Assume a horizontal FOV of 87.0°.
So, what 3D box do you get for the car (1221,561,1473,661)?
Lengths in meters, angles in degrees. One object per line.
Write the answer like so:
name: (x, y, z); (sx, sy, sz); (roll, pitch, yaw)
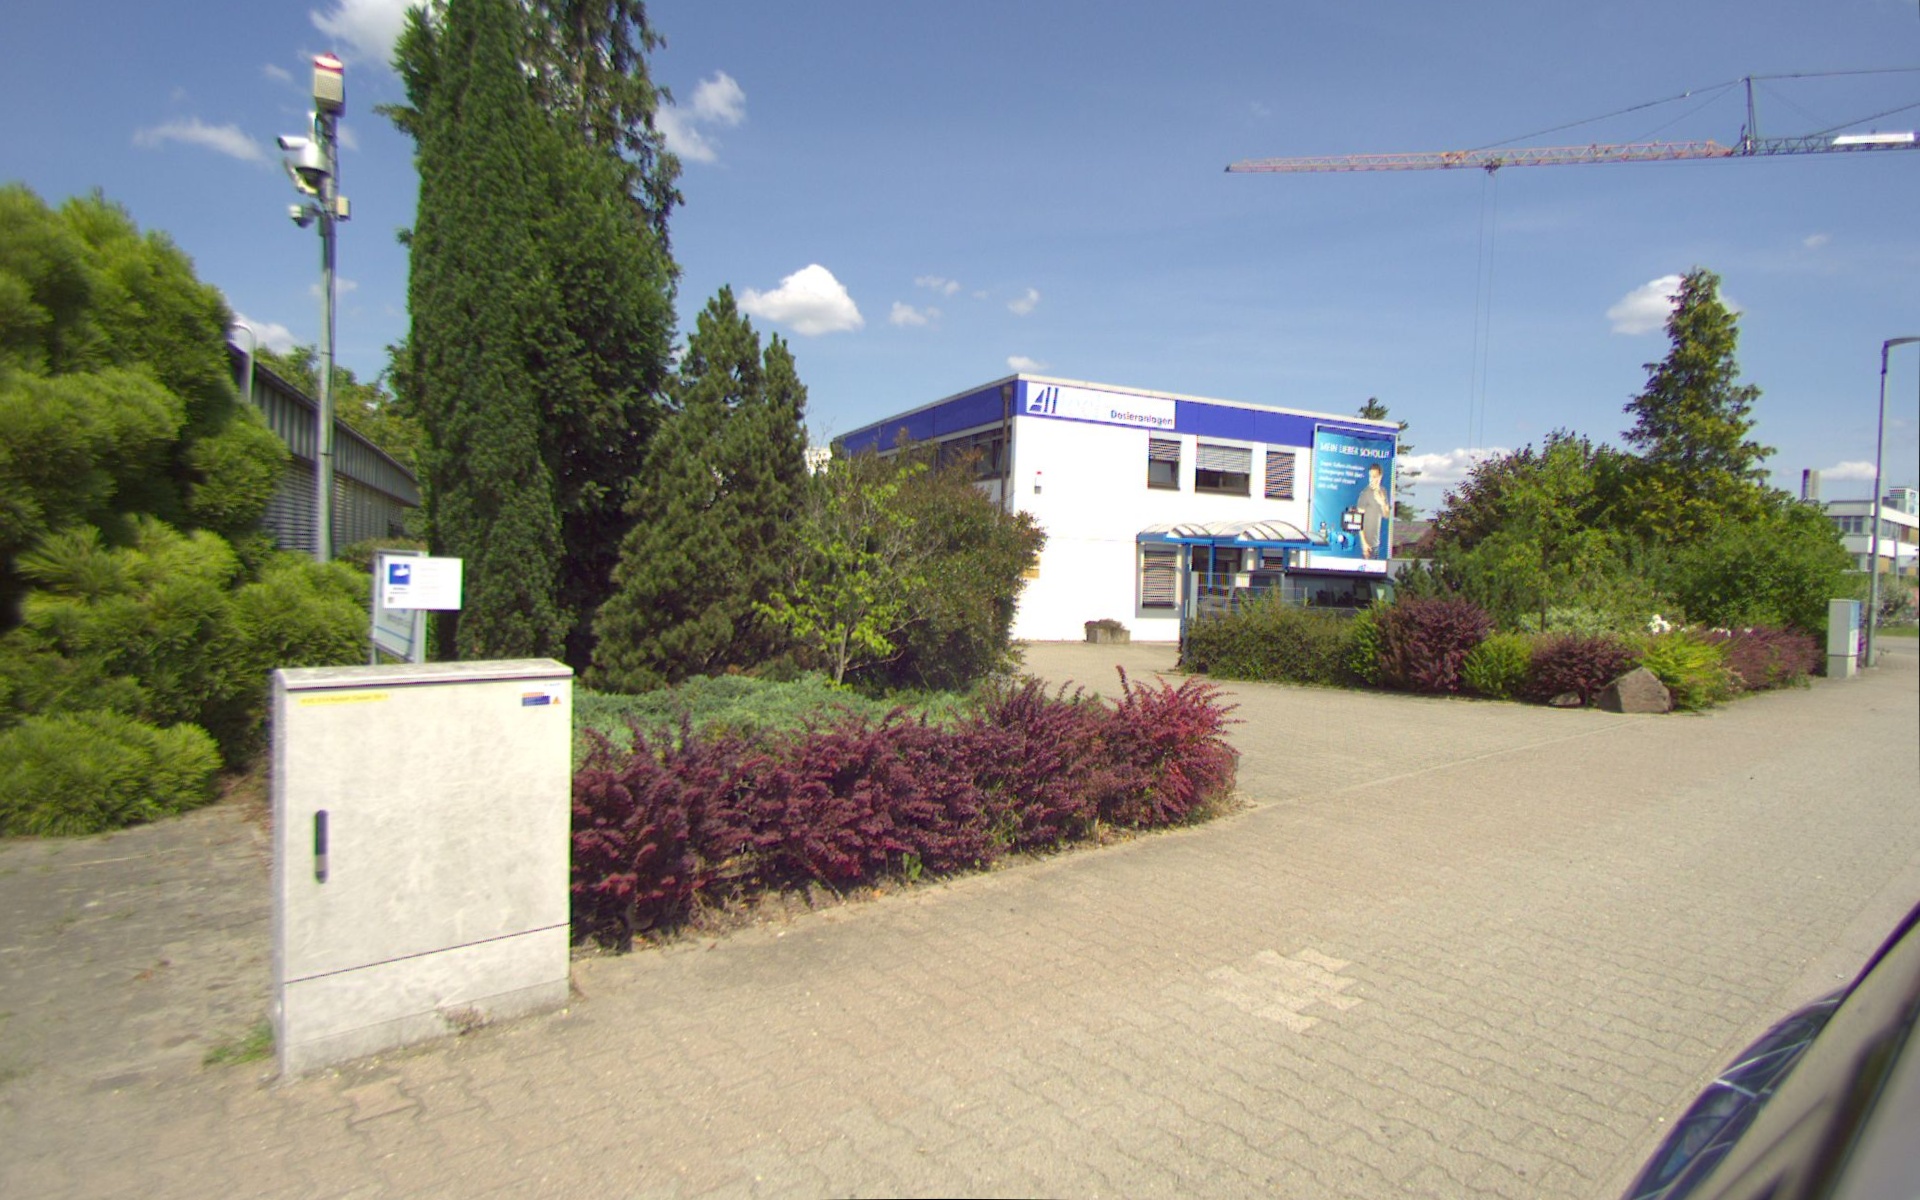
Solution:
car: (7.891, 0.144, 20.651); (4.691, 1.819, 1.909); (-1, 4, -21)
